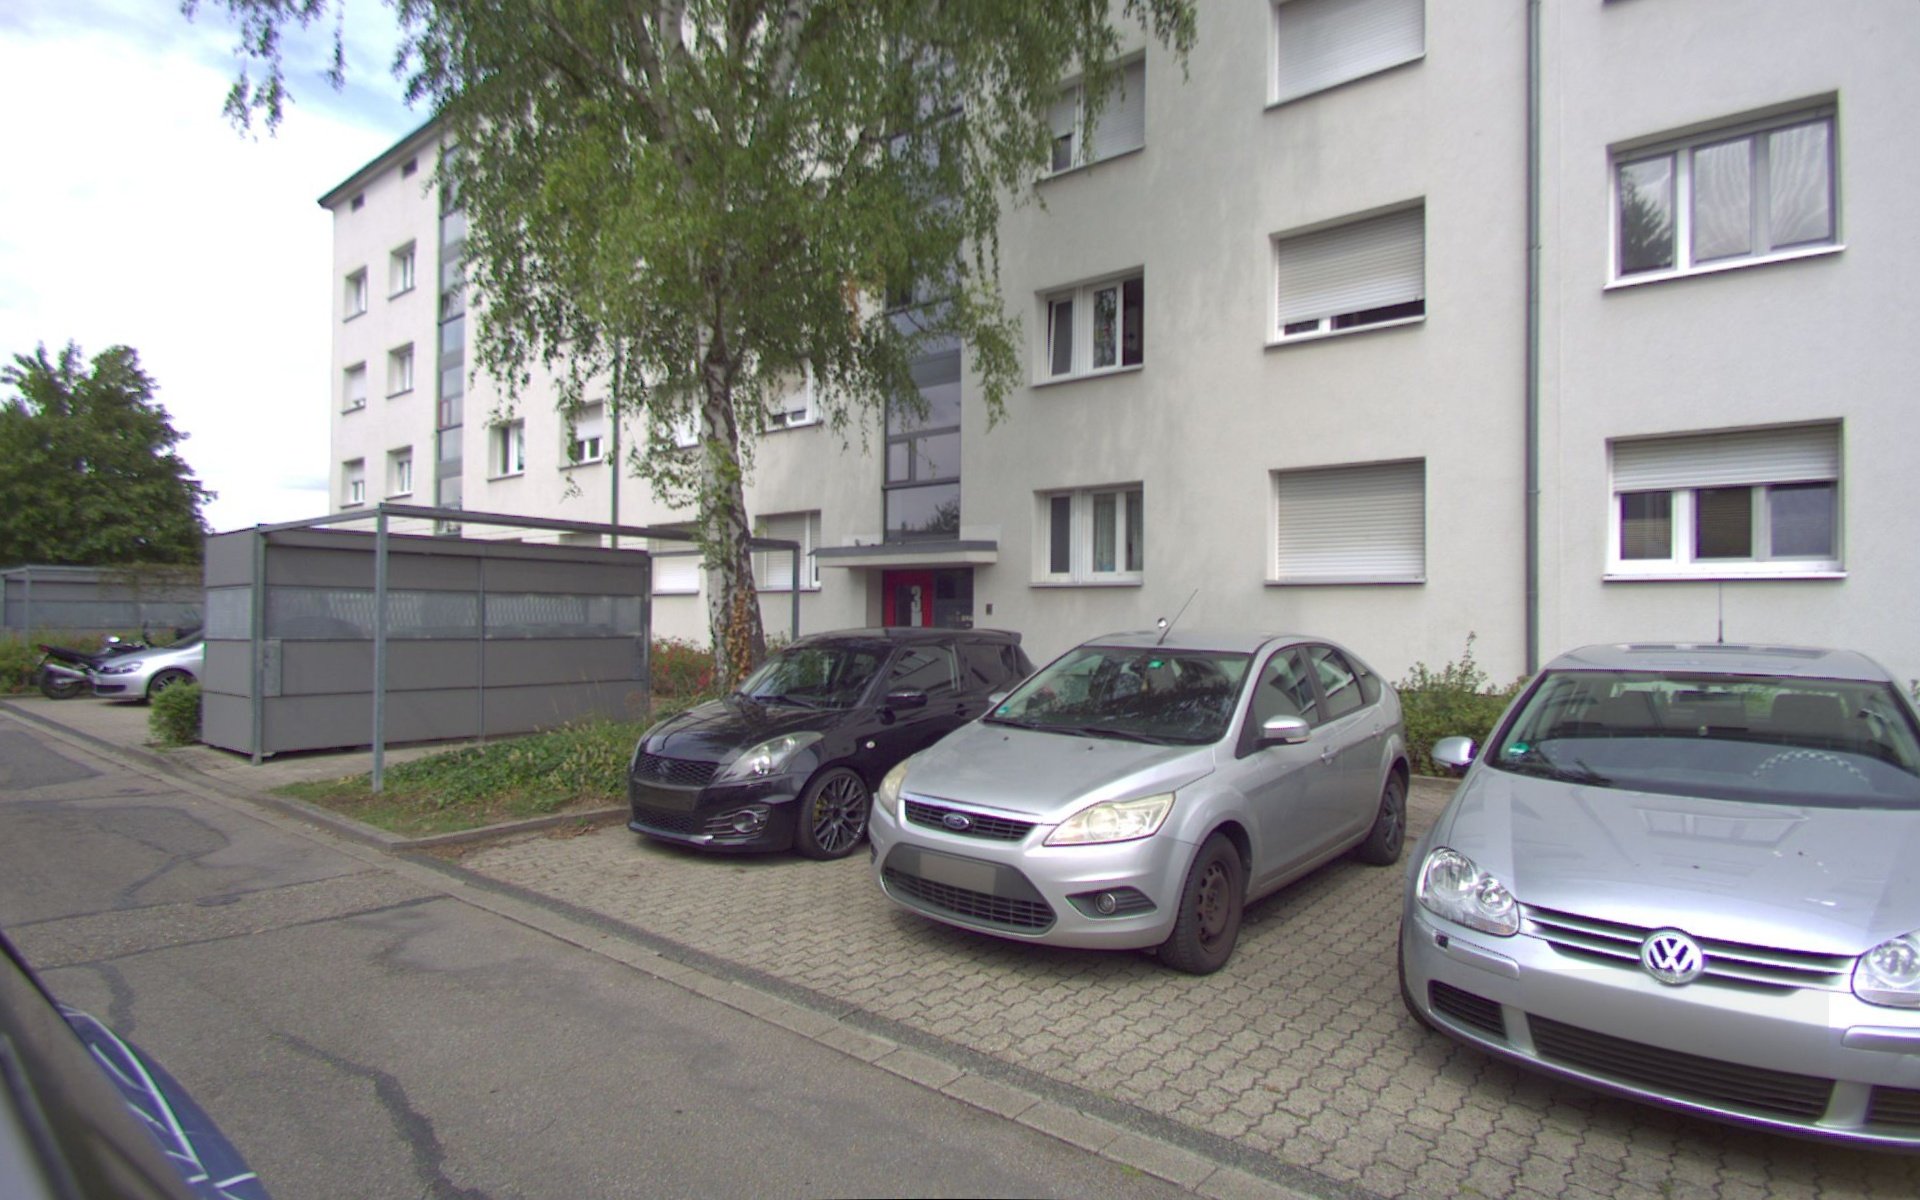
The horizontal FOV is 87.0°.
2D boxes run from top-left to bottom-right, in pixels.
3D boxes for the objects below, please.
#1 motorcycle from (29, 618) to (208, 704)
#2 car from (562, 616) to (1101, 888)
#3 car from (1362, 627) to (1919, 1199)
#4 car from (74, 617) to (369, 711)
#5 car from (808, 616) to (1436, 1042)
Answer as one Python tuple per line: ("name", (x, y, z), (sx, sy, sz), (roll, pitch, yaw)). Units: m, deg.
("motorcycle", (-15.293, 1.111, 18.463), (0.713, 1.475, 2.353), (-1, -4, 39))
("car", (-0.718, 0.930, 7.813), (1.780, 1.516, 4.011), (-1, -2, 39))
("car", (3.196, 0.885, 4.156), (1.780, 1.475, 4.011), (-1, -2, 39))
("car", (-13.247, 1.143, 18.332), (1.901, 1.497, 3.945), (-1, -4, 41))
("car", (1.240, 0.896, 5.768), (1.780, 1.516, 4.011), (-1, -2, 39))
